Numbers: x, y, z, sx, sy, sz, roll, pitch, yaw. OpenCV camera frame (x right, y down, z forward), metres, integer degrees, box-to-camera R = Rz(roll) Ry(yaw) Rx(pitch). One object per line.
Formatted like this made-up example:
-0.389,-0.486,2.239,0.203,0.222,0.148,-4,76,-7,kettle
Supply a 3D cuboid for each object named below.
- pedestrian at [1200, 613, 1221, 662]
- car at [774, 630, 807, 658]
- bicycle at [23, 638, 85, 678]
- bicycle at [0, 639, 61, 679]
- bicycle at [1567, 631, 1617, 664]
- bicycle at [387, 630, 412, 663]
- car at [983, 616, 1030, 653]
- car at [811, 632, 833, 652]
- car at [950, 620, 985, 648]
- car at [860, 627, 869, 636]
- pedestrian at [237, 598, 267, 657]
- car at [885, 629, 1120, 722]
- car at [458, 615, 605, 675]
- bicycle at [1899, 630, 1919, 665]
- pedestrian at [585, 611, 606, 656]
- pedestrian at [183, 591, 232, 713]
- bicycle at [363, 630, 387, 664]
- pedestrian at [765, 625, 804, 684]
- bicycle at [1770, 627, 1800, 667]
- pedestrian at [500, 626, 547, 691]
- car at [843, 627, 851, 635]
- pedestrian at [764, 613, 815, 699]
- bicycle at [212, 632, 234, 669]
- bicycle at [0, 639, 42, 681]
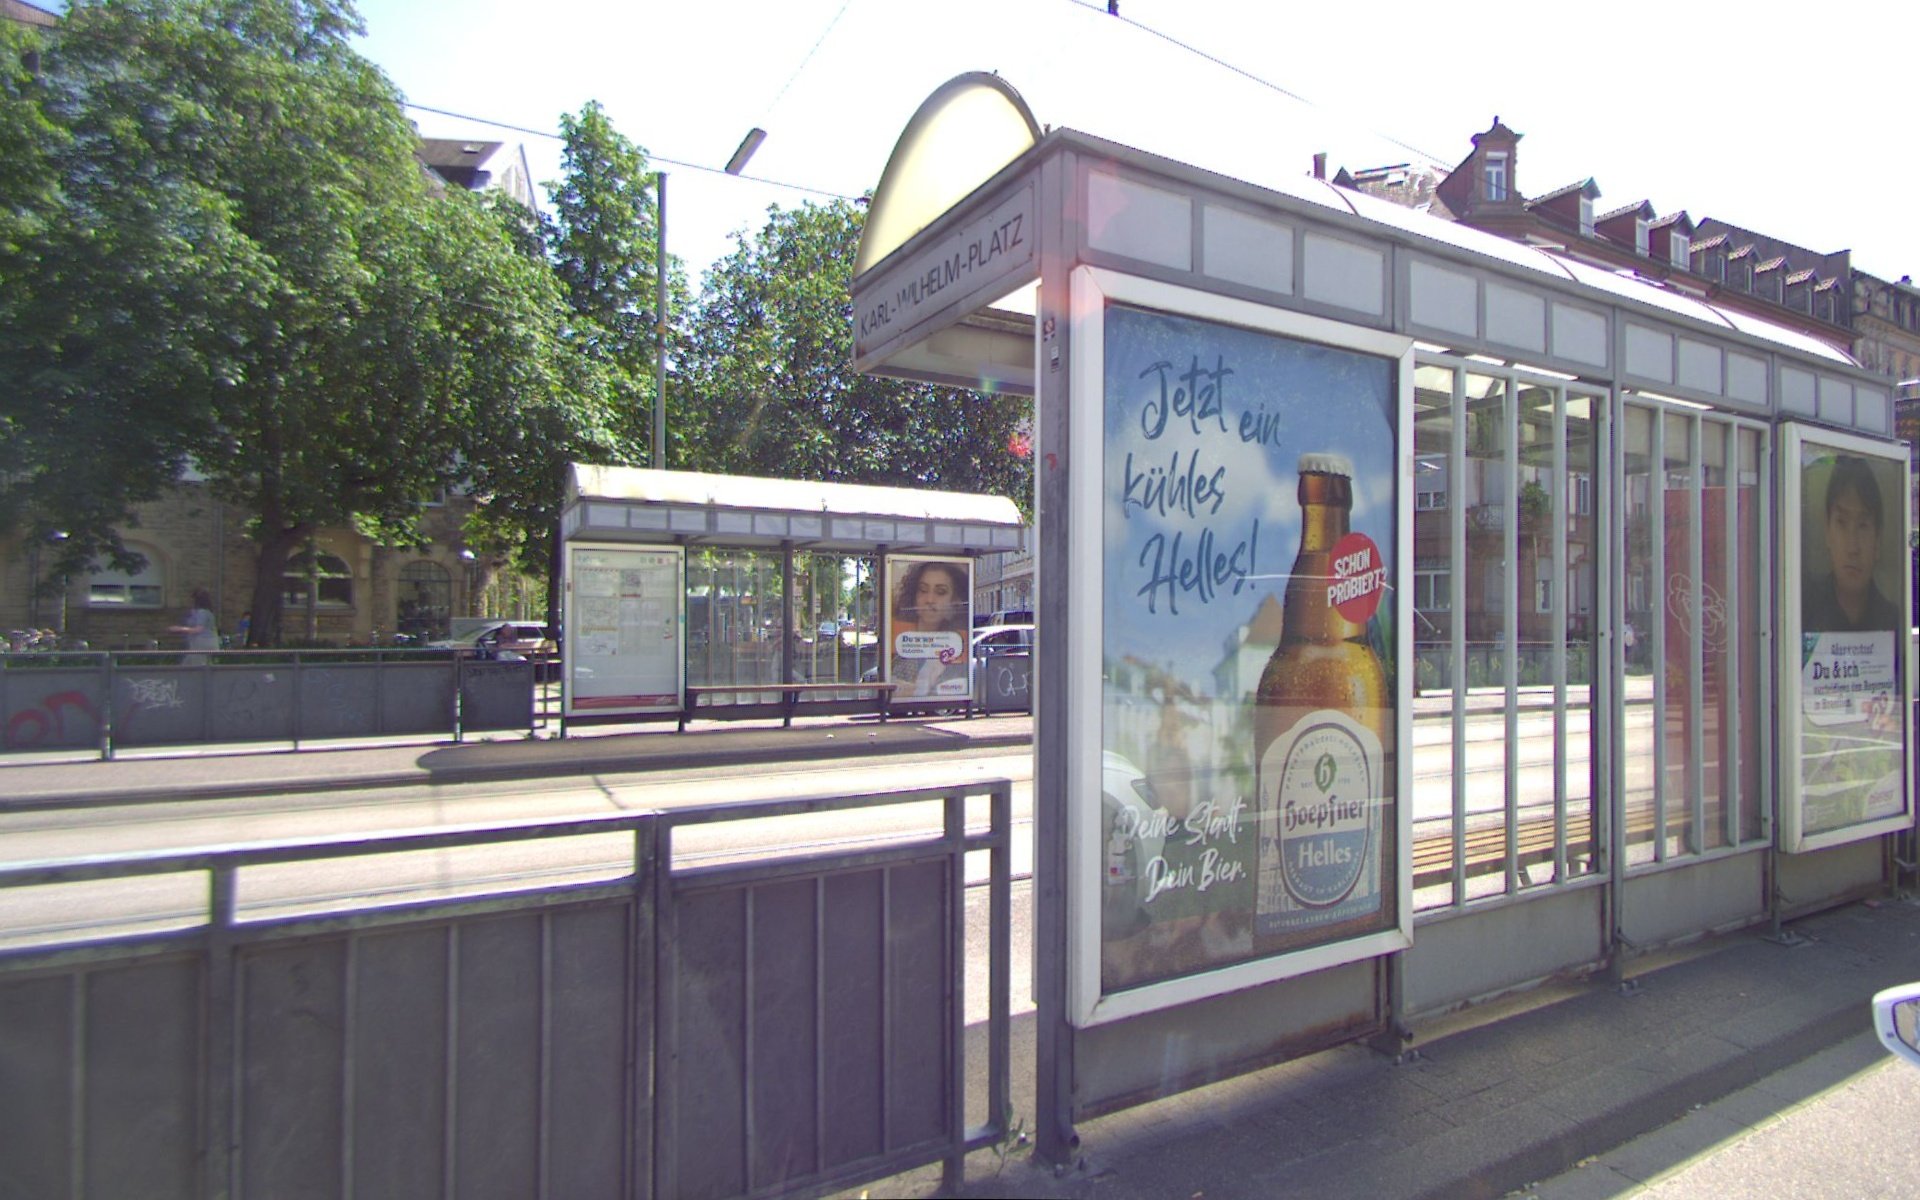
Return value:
9.603,1.425,38.512,0.556,1.849,0.632,1,-1,38,pedestrian
-9.563,2.470,56.744,1.512,1.461,3.739,1,-1,-5,car
-23.342,1.489,25.885,1.460,0.969,0.409,1,-1,13,bicycle
-23.480,1.480,25.329,1.460,0.969,0.409,1,-1,12,bicycle
22.990,1.721,36.546,1.488,1.185,0.365,1,1,12,bicycle
-17.732,1.458,31.747,0.406,0.969,1.473,2,-1,-40,bicycle
1.927,1.443,42.822,1.512,1.461,3.739,1,-1,-5,car
-10.632,3.209,77.457,1.513,1.461,3.738,1,-1,-6,car
0.386,1.820,54.649,1.512,1.461,3.739,1,-1,-5,car
-17.017,5.622,179.304,1.513,1.461,3.738,1,-1,-6,car
-21.876,0.849,31.059,0.617,1.800,0.608,1,-1,-25,pedestrian
0.746,1.200,16.666,3.677,1.356,1.533,2,-1,-31,car
-12.292,1.280,28.926,3.561,1.596,1.563,2,-1,-42,car
38.963,1.934,40.953,0.583,1.374,2.434,1,-1,33,bicycle
-16.712,1.548,46.047,0.702,2.040,0.813,0,-1,-6,pedestrian
-12.026,0.818,16.062,0.487,1.904,0.509,1,-1,-25,pedestrian
-18.175,1.450,31.188,0.406,0.969,1.473,2,-1,-40,bicycle
-3.969,1.232,22.798,0.607,1.304,0.646,1,-1,20,pedestrian
30.164,1.693,36.761,0.606,1.414,2.301,1,-1,33,bicycle
-8.792,1.157,20.240,0.539,1.272,0.646,1,-1,20,pedestrian
-22.184,6.028,197.002,1.513,1.461,3.738,1,-1,-6,car
-3.354,1.087,19.760,0.765,1.627,0.675,2,-1,-33,pedestrian
-21.070,1.431,28.697,0.406,0.969,1.473,2,-1,-40,bicycle
-23.531,1.469,24.870,1.639,0.987,0.290,1,-1,13,bicycle
